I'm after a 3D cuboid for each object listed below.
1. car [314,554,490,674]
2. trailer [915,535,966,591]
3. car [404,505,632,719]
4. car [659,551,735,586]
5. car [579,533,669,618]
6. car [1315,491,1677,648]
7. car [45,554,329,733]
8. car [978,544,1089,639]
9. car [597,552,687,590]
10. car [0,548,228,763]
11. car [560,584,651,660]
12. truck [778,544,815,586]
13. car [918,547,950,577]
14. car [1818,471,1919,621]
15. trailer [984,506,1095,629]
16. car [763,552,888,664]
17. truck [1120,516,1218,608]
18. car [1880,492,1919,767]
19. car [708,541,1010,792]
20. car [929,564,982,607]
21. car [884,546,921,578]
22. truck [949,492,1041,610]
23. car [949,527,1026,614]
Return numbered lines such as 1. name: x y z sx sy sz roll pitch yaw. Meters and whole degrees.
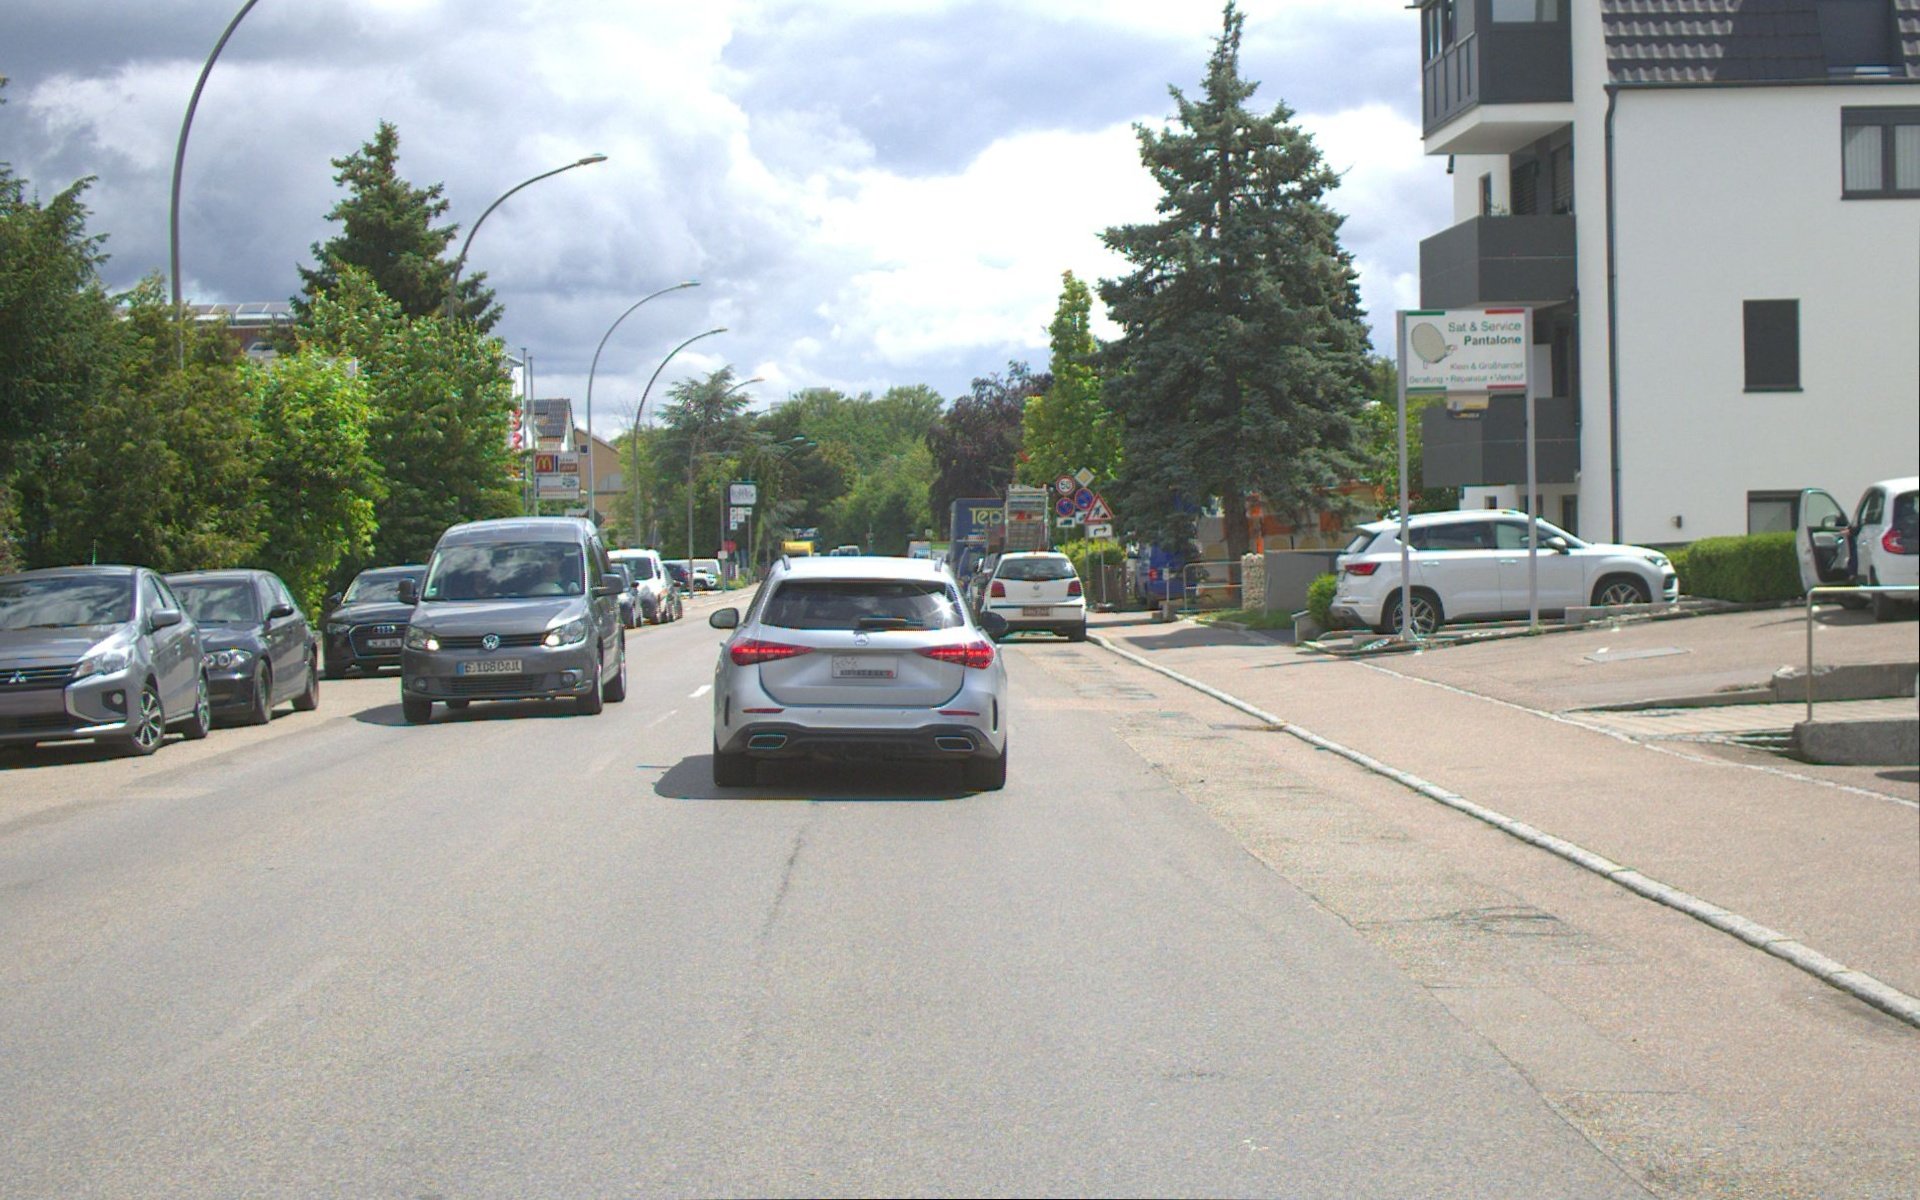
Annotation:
1. car: -7.293 0.148 45.295 1.662 1.409 4.339 -2 1 -1
2. trailer: -0.852 -1.565 145.383 1.941 2.286 4.446 -2 0 -2
3. car: -4.040 0.065 31.989 1.662 1.789 4.339 -2 1 -2
4. car: -15.256 -1.806 199.340 4.279 1.830 1.991 -1 -3 -2
5. car: -7.922 -0.603 81.401 1.743 1.832 4.356 -4 1 -2
6. car: 6.785 -0.396 43.823 4.191 1.648 1.867 -4 1 -1
7. car: -7.063 0.343 31.812 1.662 1.430 4.339 -3 1 -1
8. car: 1.222 -0.165 57.401 1.719 1.427 3.983 -3 1 1
9. car: -16.797 -1.540 181.872 4.626 1.627 2.198 -4 1 -4
10. car: -7.034 0.400 27.129 1.662 1.506 3.945 -4 1 -1
11. car: -7.778 0.463 75.651 1.639 1.482 4.001 -4 1 -2
12. truck: -11.318 -2.430 238.309 2.075 2.804 7.078 -2 1 0
13. car: -1.840 -2.668 240.240 2.144 1.977 5.261 -1 1 -1
14. car: 10.840 -0.666 38.894 1.632 1.513 3.664 -4 2 6
15. trailer: 1.428 -0.608 63.143 1.772 2.137 4.114 -1 1 -1
16. car: -1.984 0.082 50.694 1.755 1.553 4.001 -1 1 -2
17. truck: 5.239 -0.994 86.620 1.829 2.074 5.386 -4 2 -2
18. car: 7.555 0.197 19.975 3.899 1.603 1.749 1 1 -2
19. car: -0.699 0.361 22.500 1.784 1.479 4.317 0 1 -3
20. car: -0.161 -0.569 134.074 1.941 1.566 4.445 -1 1 1
21. car: -2.877 -1.882 170.540 1.755 1.553 4.000 -1 1 -2
22. truck: 0.907 -1.331 93.726 2.320 3.086 6.043 1 1 -1
23. car: 0.681 -0.771 88.205 1.873 2.161 4.464 1 1 -1
